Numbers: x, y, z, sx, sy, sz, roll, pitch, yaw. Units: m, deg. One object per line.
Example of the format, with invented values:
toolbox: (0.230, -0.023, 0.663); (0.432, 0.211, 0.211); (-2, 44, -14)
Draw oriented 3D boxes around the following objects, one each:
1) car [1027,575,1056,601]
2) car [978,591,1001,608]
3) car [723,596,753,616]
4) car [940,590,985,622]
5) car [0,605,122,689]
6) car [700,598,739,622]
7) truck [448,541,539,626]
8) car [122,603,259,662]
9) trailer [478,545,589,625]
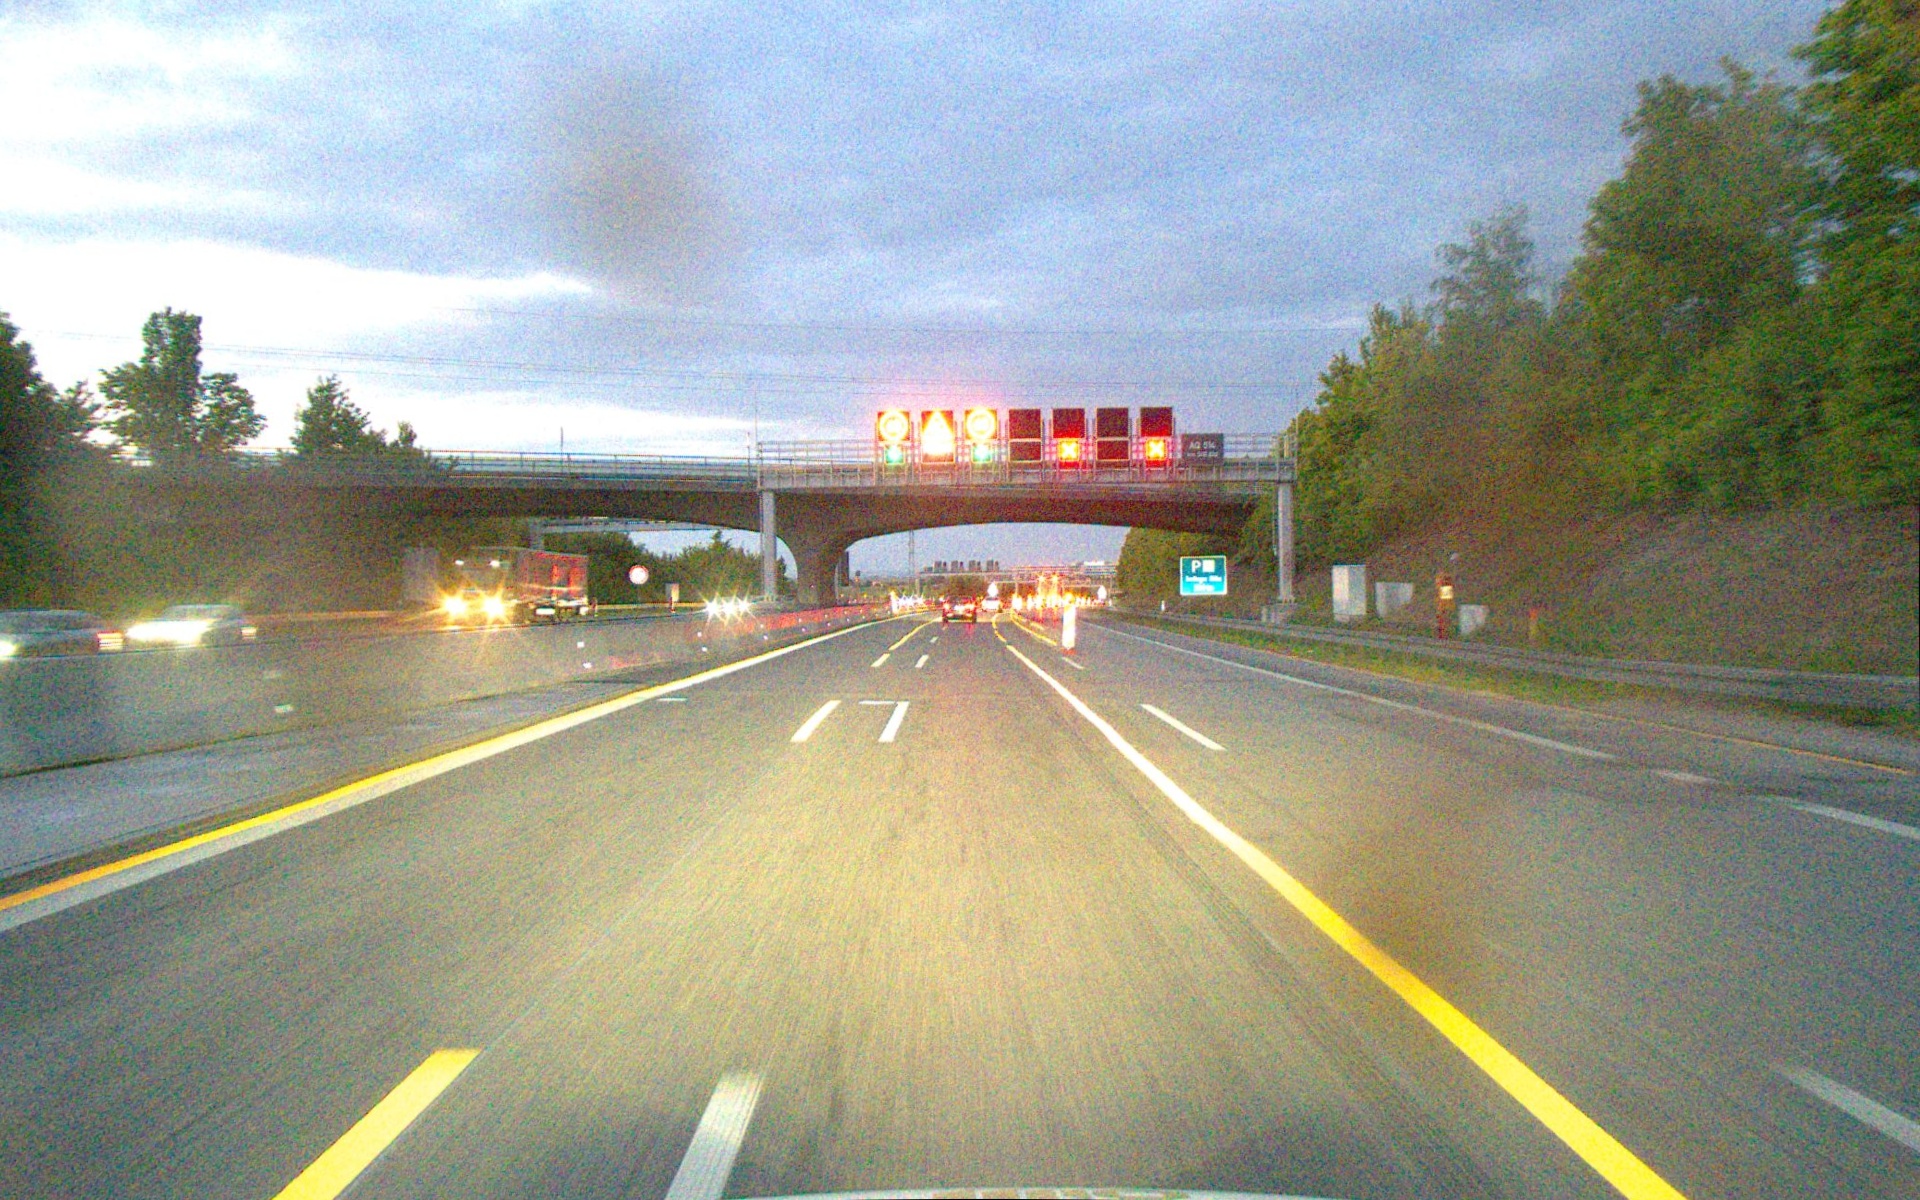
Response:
car: (11.547, -1.670, 235.601); (3.532, 3.455, 8.013); (2, 0, -1)
car: (2.658, -0.006, 149.678); (1.930, 1.462, 4.002); (2, 0, 3)
car: (-19.578, 0.500, 145.864); (1.953, 1.703, 4.582); (2, 0, 0)
car: (0.095, 0.310, 88.708); (2.220, 1.649, 3.998); (2, 0, -2)
car: (-20.491, 0.963, 36.217); (1.701, 1.666, 4.891); (2, 0, 0)
car: (-17.472, 0.711, 120.253); (1.952, 1.705, 4.516); (2, 0, 2)
truck: (-24.741, -0.839, 88.002); (2.719, 4.244, 6.387); (1, 0, 2)
car: (-22.835, 0.930, 49.323); (1.558, 1.632, 5.035); (2, 0, 2)
trailer: (-24.460, -0.794, 95.678); (2.721, 4.279, 12.405); (1, 0, 2)
